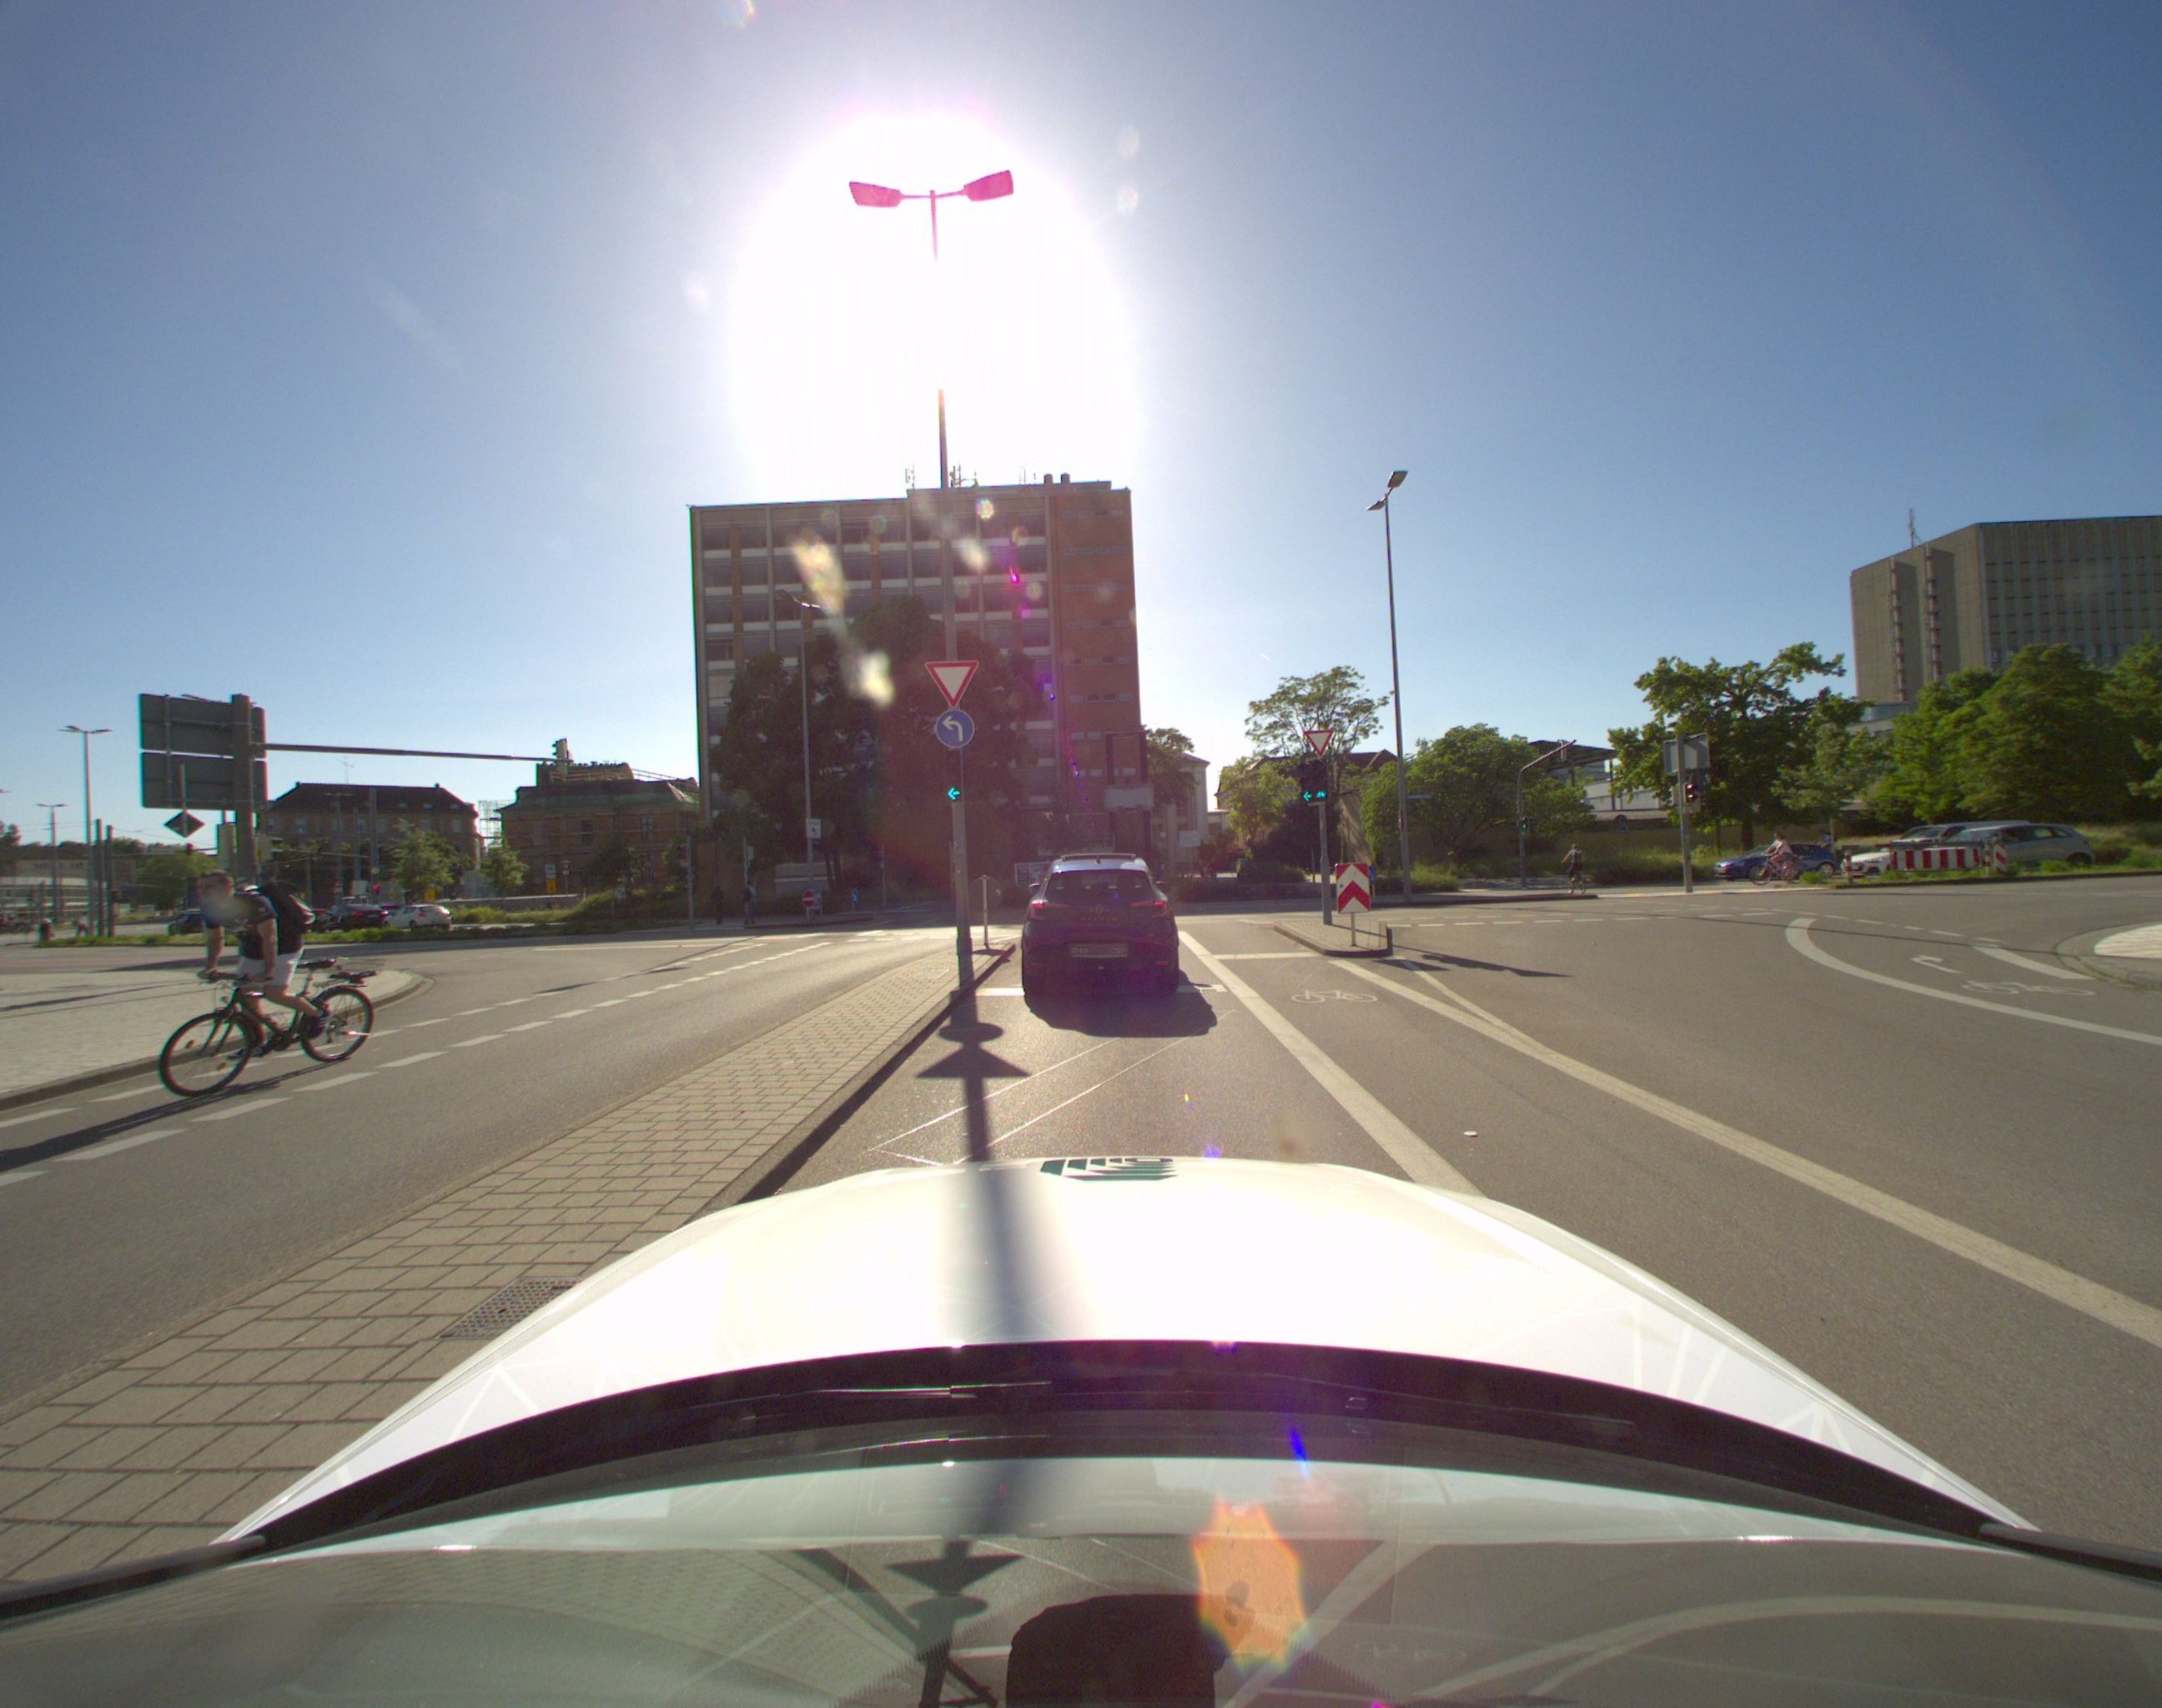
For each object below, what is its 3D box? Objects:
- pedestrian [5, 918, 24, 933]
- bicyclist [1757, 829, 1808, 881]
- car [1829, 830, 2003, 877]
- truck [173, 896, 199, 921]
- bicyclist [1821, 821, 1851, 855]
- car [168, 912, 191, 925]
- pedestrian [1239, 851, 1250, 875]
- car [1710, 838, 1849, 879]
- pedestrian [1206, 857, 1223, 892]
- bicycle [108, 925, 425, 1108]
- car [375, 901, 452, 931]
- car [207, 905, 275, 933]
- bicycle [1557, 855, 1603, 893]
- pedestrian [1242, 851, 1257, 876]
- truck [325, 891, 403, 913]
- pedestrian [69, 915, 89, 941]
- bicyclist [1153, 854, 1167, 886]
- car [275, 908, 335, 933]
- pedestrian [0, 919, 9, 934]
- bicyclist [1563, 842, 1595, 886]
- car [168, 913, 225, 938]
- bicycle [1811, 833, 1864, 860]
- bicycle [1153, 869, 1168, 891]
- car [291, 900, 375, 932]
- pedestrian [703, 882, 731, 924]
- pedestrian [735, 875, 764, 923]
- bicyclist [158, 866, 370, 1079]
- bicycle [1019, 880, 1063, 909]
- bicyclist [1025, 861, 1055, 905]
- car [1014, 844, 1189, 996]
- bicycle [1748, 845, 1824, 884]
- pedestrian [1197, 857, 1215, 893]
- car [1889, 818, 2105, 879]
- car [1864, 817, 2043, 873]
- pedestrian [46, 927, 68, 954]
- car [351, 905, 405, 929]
[{"bbox_3d":[-101.951,6.846,77.848,0.689,1.408,0.865,0,-1,0],"label":"pedestrian"},{"bbox_3d":[23.935,0.036,27.816,0.970,1.685,0.747,-4,-1,3],"label":"bicyclist"},{"bbox_3d":[30.247,0.000,29.652,3.962,1.469,2.005,-3,-1,10],"label":"car"},{"bbox_3d":[-137.872,8.352,125.435,5.159,3.675,2.618,-1,-1,42],"label":"truck"},{"bbox_3d":[36.626,-0.779,39.507,0.826,1.595,0.632,-4,2,1],"label":"bicyclist"},{"bbox_3d":[-116.202,8.297,104.989,3.594,1.544,1.797,-1,-1,44],"label":"car"},{"bbox_3d":[11.329,0.619,56.444,0.670,1.643,0.739,-1,-1,18],"label":"pedestrian"},{"bbox_3d":[28.082,0.192,32.847,3.967,1.442,1.707,-2,-2,5],"label":"car"},{"bbox_3d":[6.948,1.068,42.472,0.727,1.782,0.735,-1,-1,19],"label":"pedestrian"},{"bbox_3d":[-6.804,1.288,6.979,0.743,1.165,1.871,-4,-1,2],"label":"bicycle"},{"bbox_3d":[-36.552,3.416,44.592,3.691,1.436,1.706,-3,-1,24],"label":"car"},{"bbox_3d":[-49.044,3.797,47.549,3.750,1.443,1.741,-3,-2,28],"label":"car"},{"bbox_3d":[17.216,0.674,28.141,0.637,1.165,1.875,-3,1,8],"label":"bicycle"},{"bbox_3d":[11.102,0.645,53.638,0.669,1.643,0.740,-1,-1,45],"label":"pedestrian"},{"bbox_3d":[-86.978,5.811,98.973,2.197,2.313,6.913,-3,-1,16],"label":"truck"},{"bbox_3d":[-64.685,4.795,52.572,0.668,1.611,0.659,-1,-1,27],"label":"pedestrian"},{"bbox_3d":[4.427,0.896,45.570,0.716,1.735,0.980,-3,-1,7],"label":"bicyclist"},{"bbox_3d":[-48.063,4.111,50.440,3.674,1.443,1.687,-3,-4,29],"label":"car"},{"bbox_3d":[-101.964,6.832,76.760,0.689,1.408,0.865,0,-1,0],"label":"pedestrian"},{"bbox_3d":[17.195,0.329,28.143,0.637,1.444,0.778,-3,1,9],"label":"bicyclist"},{"bbox_3d":[-54.928,4.418,50.575,3.859,1.443,1.741,-4,-4,33],"label":"car"},{"bbox_3d":[36.713,-0.355,39.520,1.944,1.165,0.643,-4,1,0],"label":"bicycle"},{"bbox_3d":[4.453,1.429,45.546,0.742,1.165,1.874,-3,-1,7],"label":"bicycle"},{"bbox_3d":[-43.131,3.560,46.963,4.324,1.624,2.002,-3,-1,24],"label":"car"},{"bbox_3d":[-14.612,1.970,32.674,0.711,1.612,0.685,-3,-2,18],"label":"pedestrian"},{"bbox_3d":[-13.185,1.787,32.425,0.753,1.833,1.093,-2,-2,-7],"label":"pedestrian"},{"bbox_3d":[-6.829,0.933,6.870,0.717,1.621,0.978,-4,-1,1],"label":"bicyclist"},{"bbox_3d":[-1.689,1.679,33.917,1.847,1.165,0.753,-3,-1,45],"label":"bicycle"},{"bbox_3d":[-1.711,1.213,33.926,0.965,1.763,0.726,-3,-1,45],"label":"bicyclist"},{"bbox_3d":[0.275,0.720,10.602,1.870,1.617,3.799,0,-1,2],"label":"car"},{"bbox_3d":[24.052,0.362,27.807,1.856,1.165,0.749,-4,-1,3],"label":"bicycle"},{"bbox_3d":[6.399,1.054,41.682,0.727,1.816,0.735,-1,-1,19],"label":"pedestrian"},{"bbox_3d":[27.951,-0.124,24.976,4.281,1.625,1.792,-2,-2,5],"label":"car"},{"bbox_3d":[34.745,-0.339,32.542,4.718,1.953,1.942,-2,-2,5],"label":"car"},{"bbox_3d":[-63.104,5.311,50.183,0.565,1.611,0.573,0,-1,1],"label":"pedestrian"},{"bbox_3d":[-50.507,4.531,58.503,3.578,1.618,1.894,-4,-3,31],"label":"car"}]
